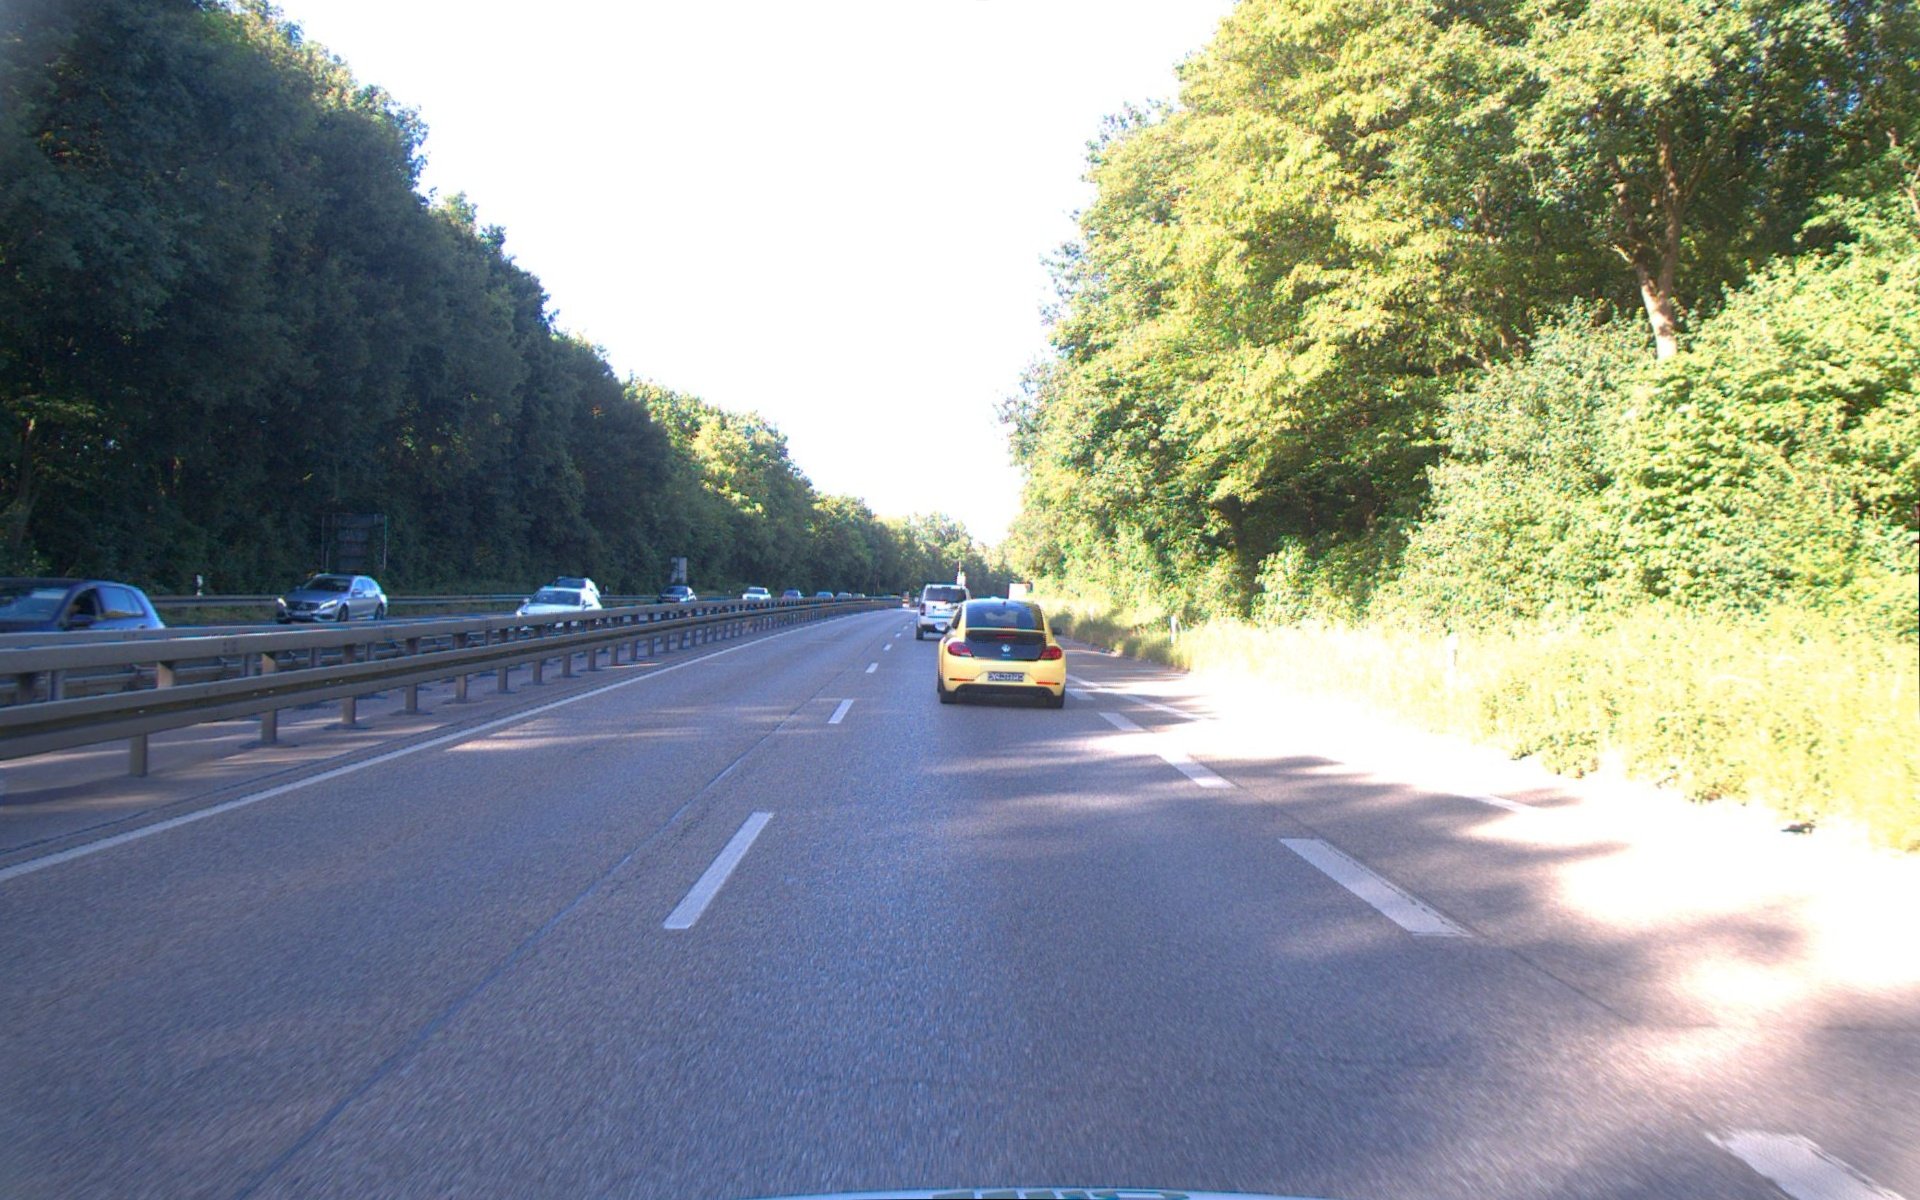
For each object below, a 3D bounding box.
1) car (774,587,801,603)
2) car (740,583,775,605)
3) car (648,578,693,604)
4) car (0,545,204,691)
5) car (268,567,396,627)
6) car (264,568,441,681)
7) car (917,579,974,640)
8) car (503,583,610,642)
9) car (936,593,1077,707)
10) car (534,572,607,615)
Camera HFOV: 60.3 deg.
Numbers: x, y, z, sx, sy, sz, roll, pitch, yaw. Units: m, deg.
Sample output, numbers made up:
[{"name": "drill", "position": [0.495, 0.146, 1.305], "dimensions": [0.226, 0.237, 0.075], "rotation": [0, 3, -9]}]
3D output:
[{"name": "car", "position": [-15.573, -0.434, 149.190], "dimensions": [1.952, 1.489, 4.000], "rotation": [0, 0, 1]}, {"name": "car", "position": [-15.653, -0.461, 127.950], "dimensions": [1.952, 1.651, 4.791], "rotation": [0, 0, 2]}, {"name": "car", "position": [-16.627, -0.502, 95.189], "dimensions": [1.953, 1.512, 3.999], "rotation": [0, 0, -1]}, {"name": "car", "position": [-10.944, 0.191, 19.795], "dimensions": [1.953, 1.567, 4.118], "rotation": [0, 0, -1]}, {"name": "car", "position": [-17.951, -0.081, 47.517], "dimensions": [1.953, 1.628, 4.706], "rotation": [0, 0, -1]}, {"name": "car", "position": [-10.792, 0.406, 29.691], "dimensions": [1.752, 1.892, 3.999], "rotation": [0, 0, -1]}, {"name": "car", "position": [-0.494, 0.283, 53.495], "dimensions": [1.706, 1.862, 3.421], "rotation": [2, 0, -2]}, {"name": "car", "position": [-11.406, 0.343, 47.078], "dimensions": [1.953, 1.587, 4.706], "rotation": [0, 0, -1]}, {"name": "car", "position": [0.706, 0.677, 24.115], "dimensions": [1.898, 1.535, 3.423], "rotation": [0, 0, 3]}, {"name": "car", "position": [-16.215, -0.275, 69.113], "dimensions": [1.953, 1.728, 4.907], "rotation": [0, 0, -1]}]
